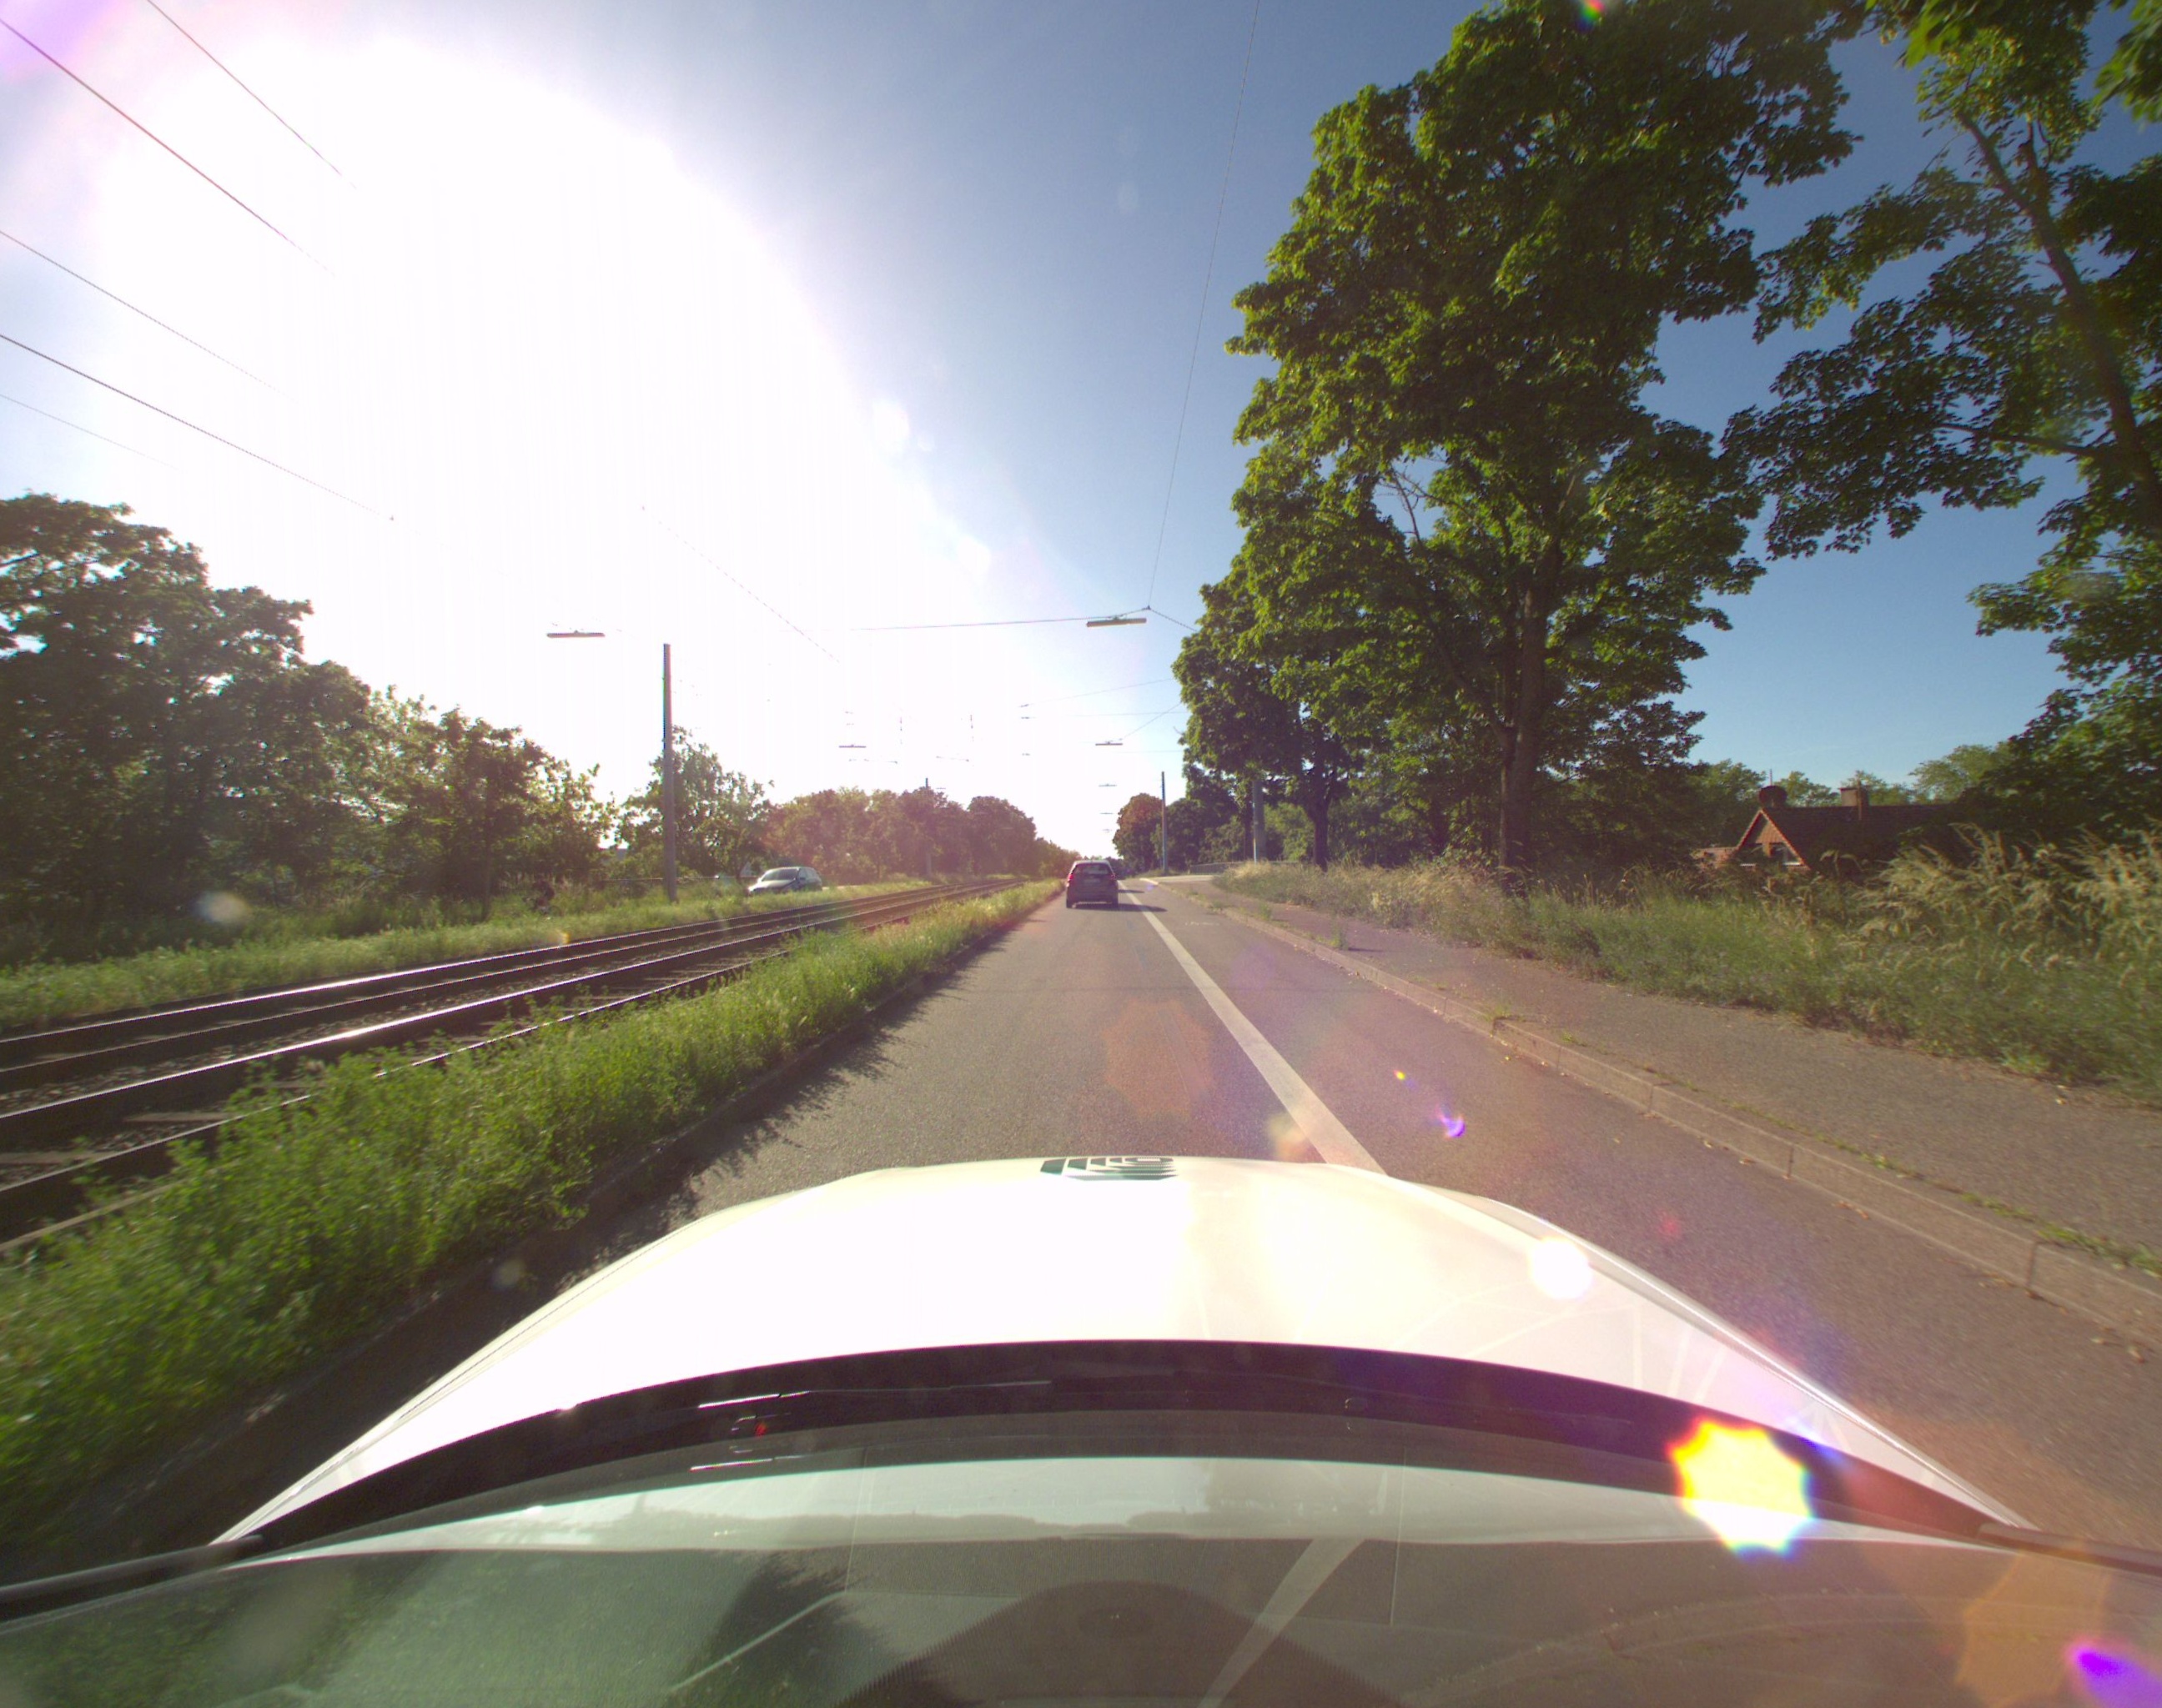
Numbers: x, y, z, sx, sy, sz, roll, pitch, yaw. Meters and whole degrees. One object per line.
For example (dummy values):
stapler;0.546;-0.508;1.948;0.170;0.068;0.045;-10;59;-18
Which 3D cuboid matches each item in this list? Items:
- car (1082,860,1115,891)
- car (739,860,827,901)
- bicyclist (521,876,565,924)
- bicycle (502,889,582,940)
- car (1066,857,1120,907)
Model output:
car;0.967;1.093;42.781;1.648;1.507;3.813;0;0;2
car;-12.125;1.030;33.459;1.802;1.489;4.409;0;0;3
bicyclist;-15.410;1.293;23.345;0.580;1.310;0.988;0;0;2
bicycle;-15.413;1.701;23.369;0.587;1.261;2.428;0;0;2
car;0.423;0.873;27.222;1.664;1.507;3.812;0;0;1
